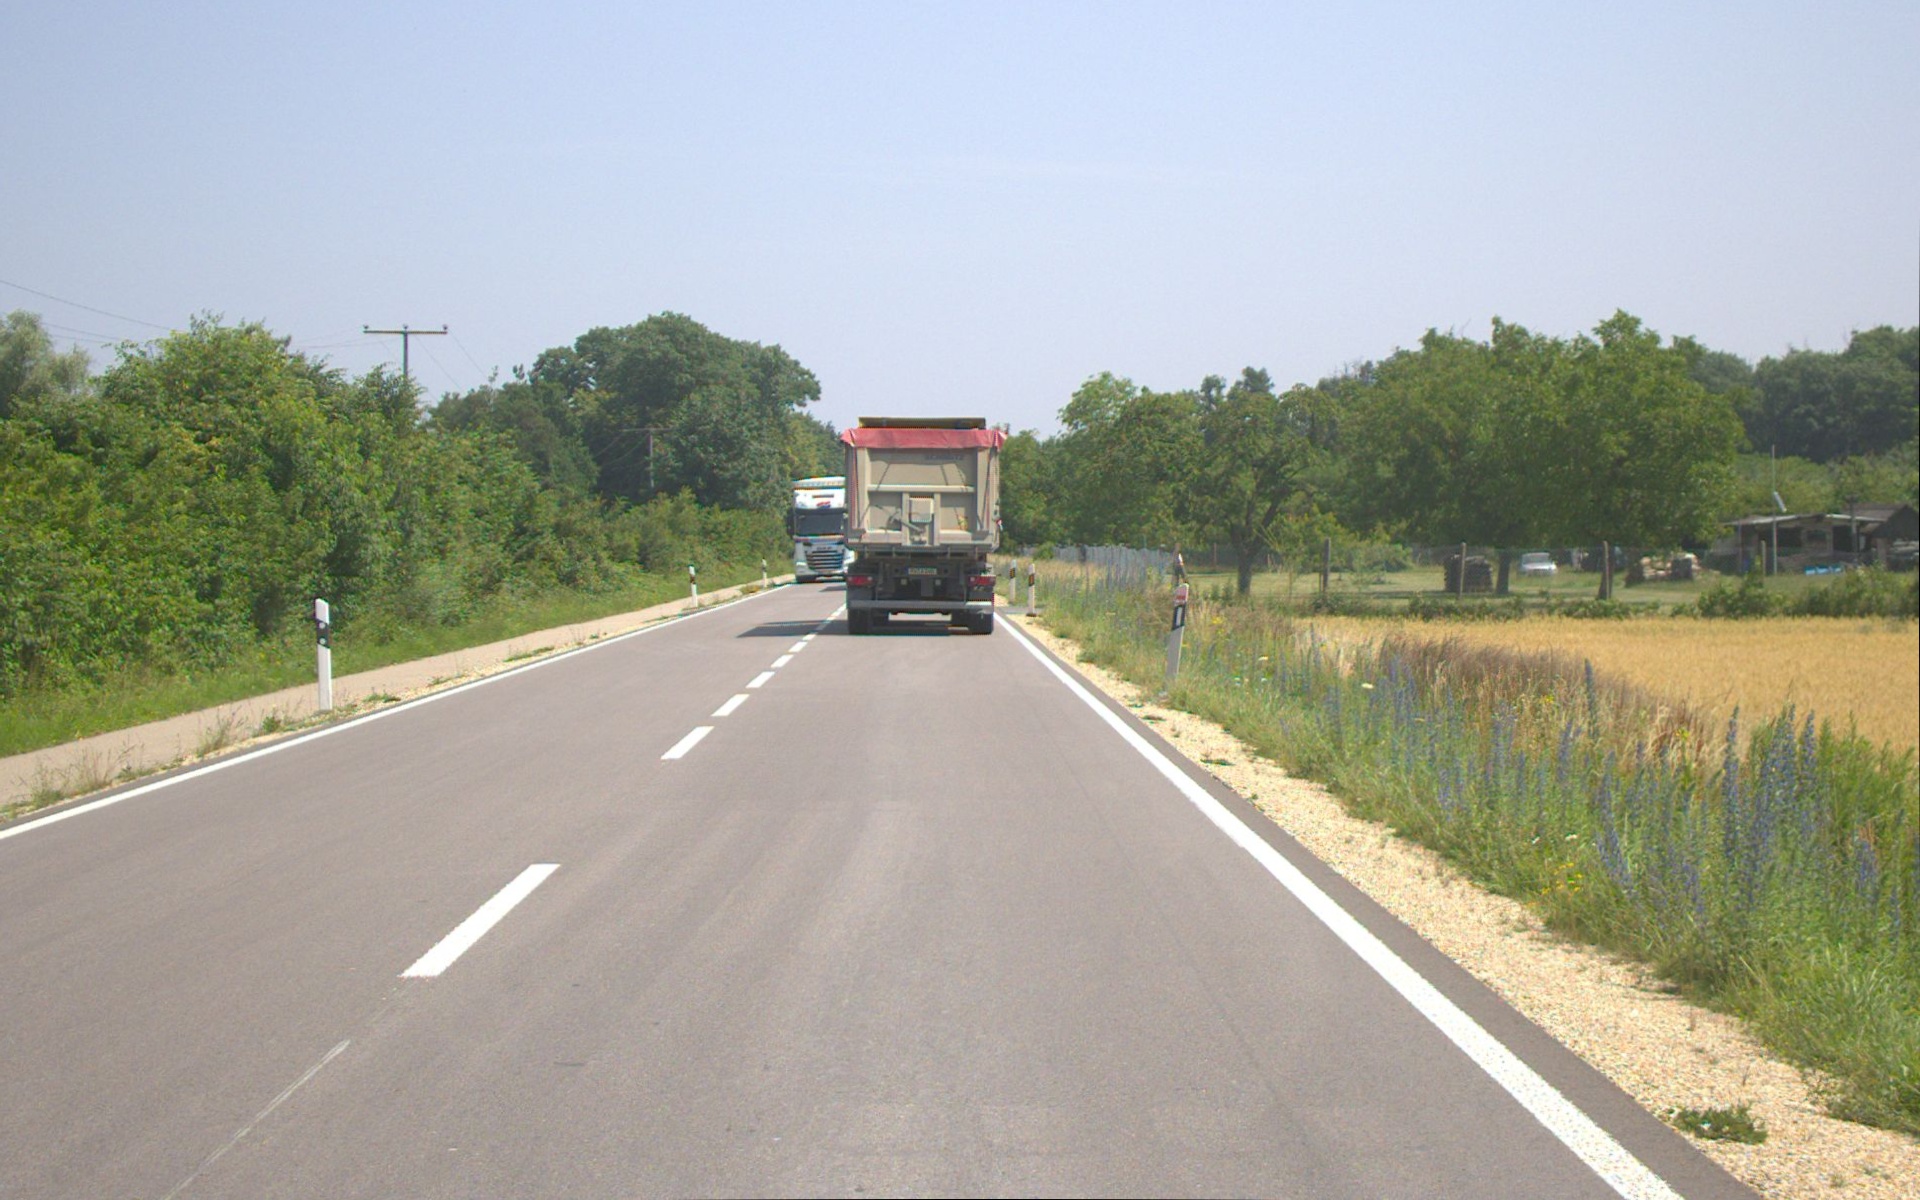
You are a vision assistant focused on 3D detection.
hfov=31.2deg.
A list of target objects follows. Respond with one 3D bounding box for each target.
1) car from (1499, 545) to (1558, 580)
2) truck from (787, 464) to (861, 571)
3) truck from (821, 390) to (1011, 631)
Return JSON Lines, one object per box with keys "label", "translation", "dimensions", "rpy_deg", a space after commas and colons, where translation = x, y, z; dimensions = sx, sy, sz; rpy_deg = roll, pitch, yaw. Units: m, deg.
{"label": "car", "translation": [25.269, -1.694, 152.888], "dimensions": [1.592, 1.481, 3.429], "rpy_deg": [0, 2, -8]}
{"label": "truck", "translation": [-5.606, -3.407, 142.601], "dimensions": [2.717, 4.251, 7.390], "rpy_deg": [-2, 1, -1]}
{"label": "truck", "translation": [-0.804, -1.529, 61.989], "dimensions": [3.009, 3.861, 12.210], "rpy_deg": [1, 1, -1]}
